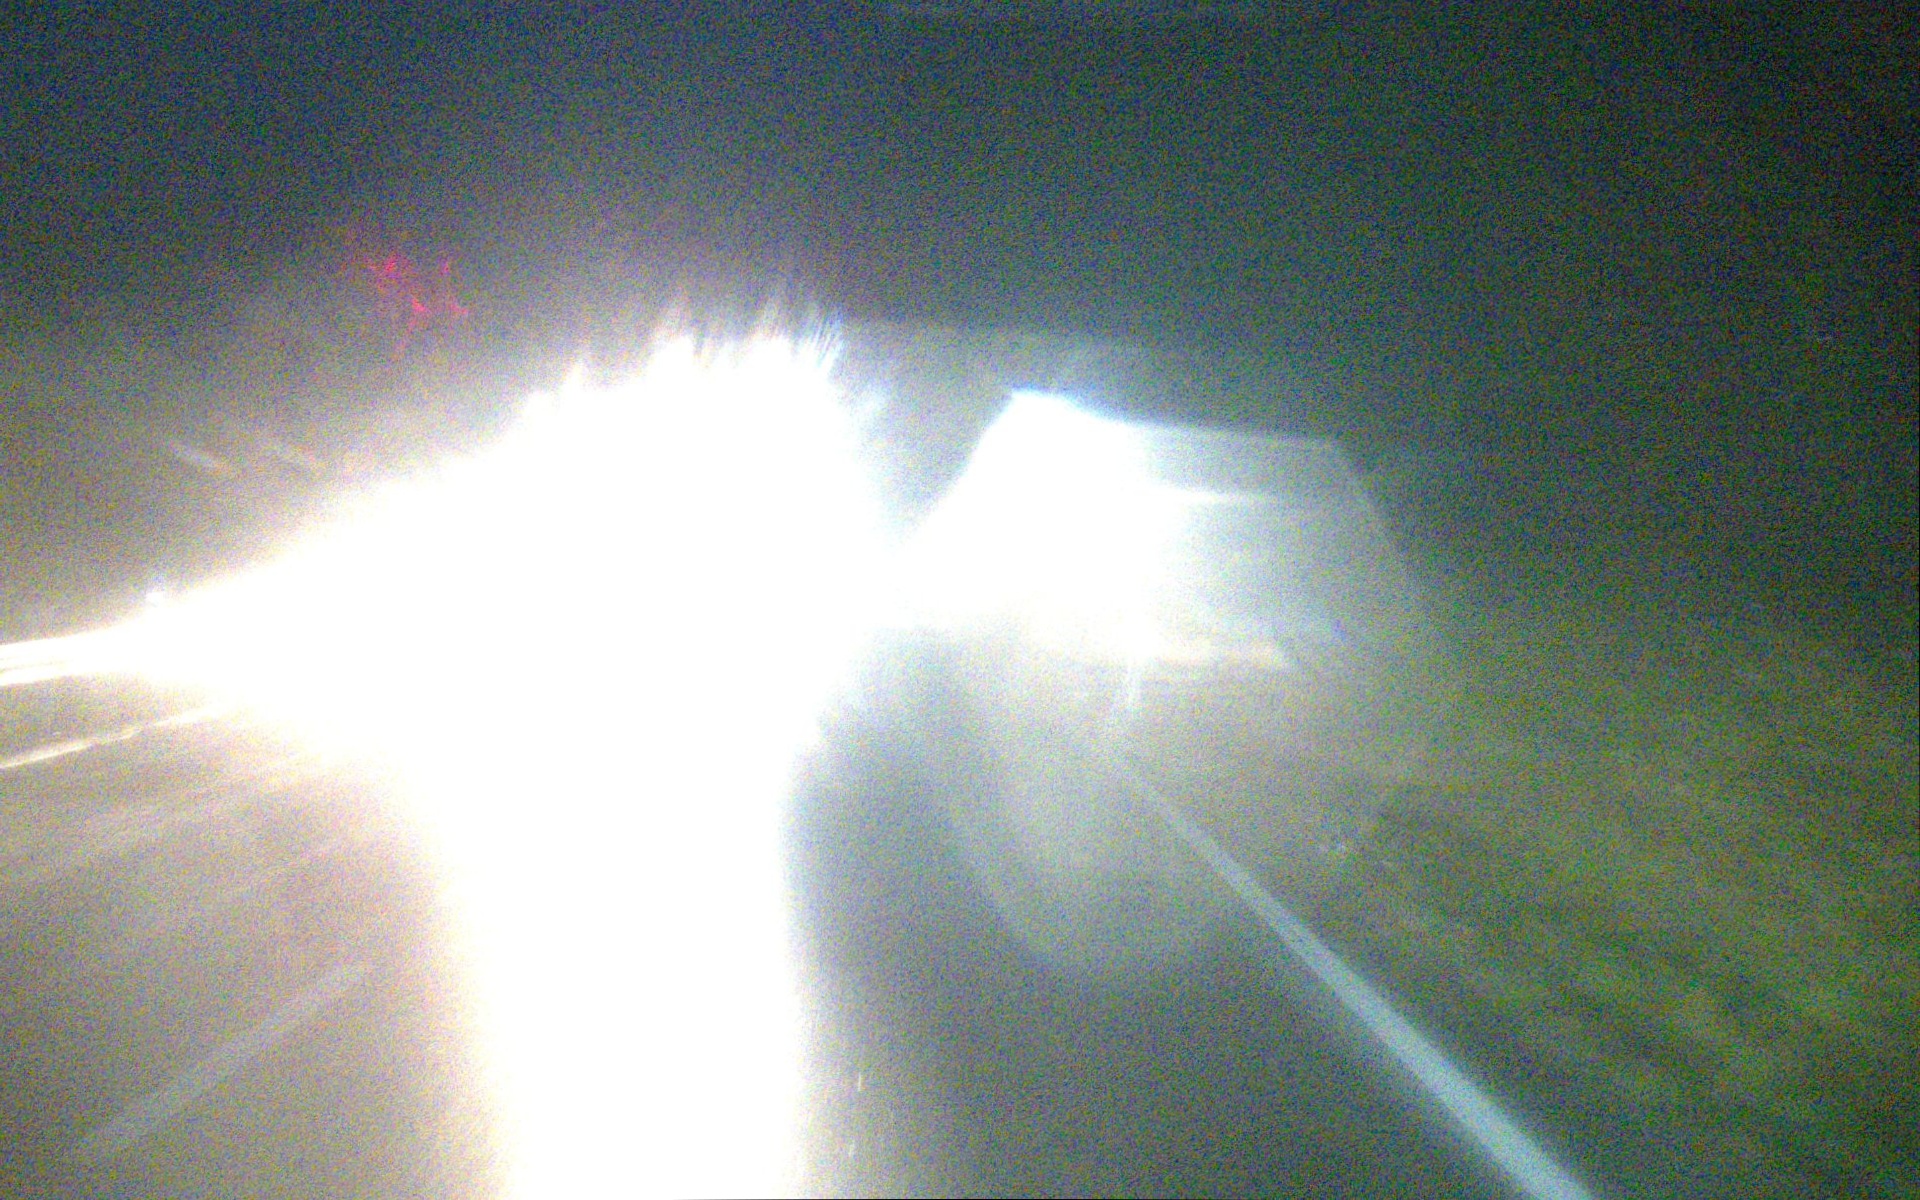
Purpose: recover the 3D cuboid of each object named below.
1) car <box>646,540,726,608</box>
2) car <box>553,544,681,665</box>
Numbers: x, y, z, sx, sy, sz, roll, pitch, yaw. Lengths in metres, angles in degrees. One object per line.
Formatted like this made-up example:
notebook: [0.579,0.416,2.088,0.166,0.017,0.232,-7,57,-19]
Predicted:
car: [-7.137,-0.710,89.887,1.926,1.698,4.001,1,1,-2]
car: [-4.966,0.039,50.161,1.483,1.610,3.561,3,1,-1]
